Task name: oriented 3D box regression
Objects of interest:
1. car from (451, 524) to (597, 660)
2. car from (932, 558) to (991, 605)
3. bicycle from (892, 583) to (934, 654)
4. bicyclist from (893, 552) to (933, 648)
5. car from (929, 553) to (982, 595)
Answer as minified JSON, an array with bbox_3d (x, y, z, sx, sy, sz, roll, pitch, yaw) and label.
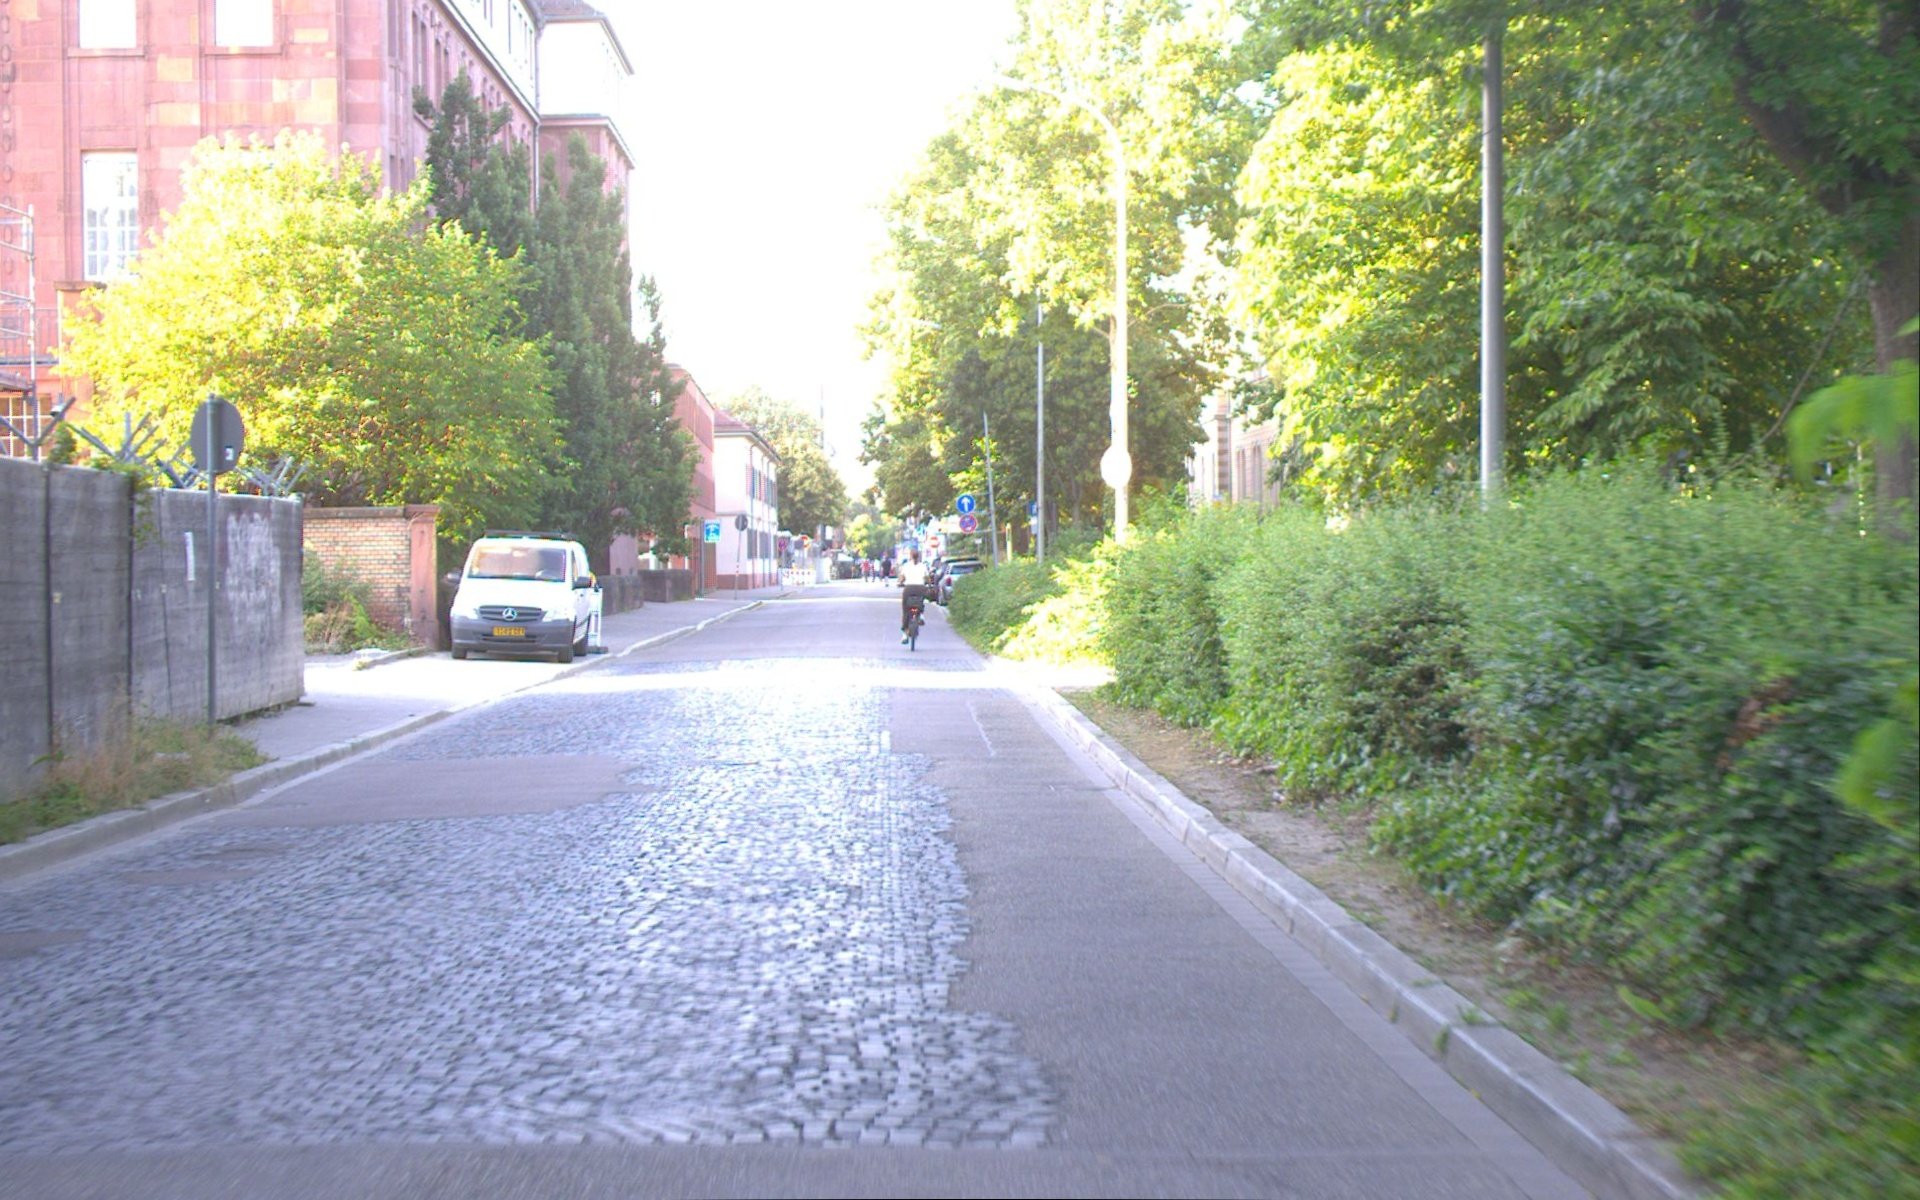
[{"bbox_3d":[-6.847,-0.107,54.456,1.882,2.007,5.226,1,0,-3],"label":"car"},{"bbox_3d":[0.042,-0.605,113.970,1.685,1.442,3.672,-3,0,-3],"label":"car"},{"bbox_3d":[-0.831,0.313,60.051,0.638,1.189,1.876,1,1,-3],"label":"bicycle"},{"bbox_3d":[-0.825,-0.008,60.032,0.639,1.662,0.843,1,0,-3],"label":"bicyclist"},{"bbox_3d":[-0.179,-0.971,127.860,1.715,1.532,4.049,-1,1,-3],"label":"car"}]
